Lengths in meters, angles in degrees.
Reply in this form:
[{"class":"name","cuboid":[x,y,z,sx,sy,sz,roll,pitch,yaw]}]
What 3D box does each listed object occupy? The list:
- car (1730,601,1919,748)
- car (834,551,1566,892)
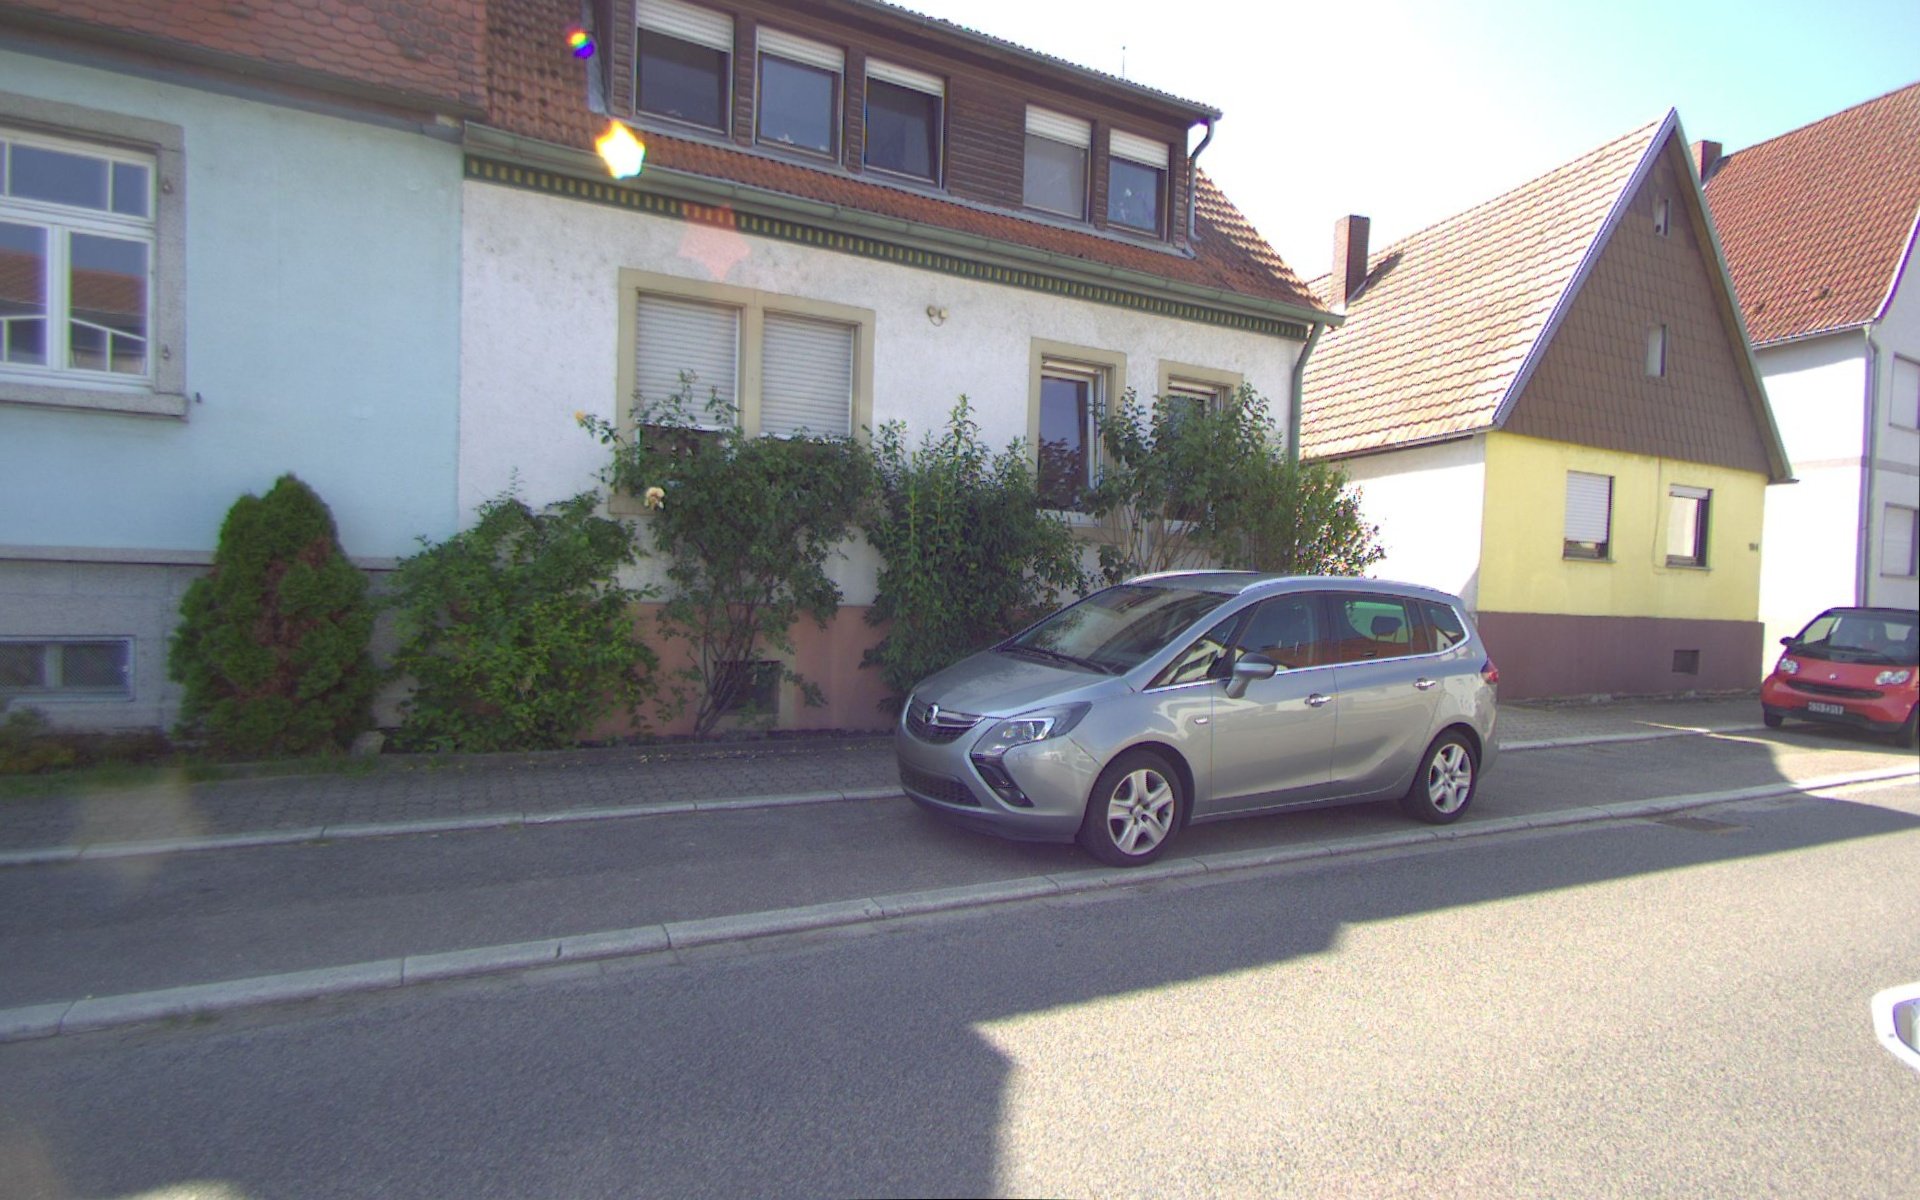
[{"class":"car","cuboid":[11.277,0.869,12.502,2.950,1.565,1.546,2,2,-28]},{"class":"car","cuboid":[1.666,0.611,6.727,4.603,1.659,1.866,2,2,-27]}]
